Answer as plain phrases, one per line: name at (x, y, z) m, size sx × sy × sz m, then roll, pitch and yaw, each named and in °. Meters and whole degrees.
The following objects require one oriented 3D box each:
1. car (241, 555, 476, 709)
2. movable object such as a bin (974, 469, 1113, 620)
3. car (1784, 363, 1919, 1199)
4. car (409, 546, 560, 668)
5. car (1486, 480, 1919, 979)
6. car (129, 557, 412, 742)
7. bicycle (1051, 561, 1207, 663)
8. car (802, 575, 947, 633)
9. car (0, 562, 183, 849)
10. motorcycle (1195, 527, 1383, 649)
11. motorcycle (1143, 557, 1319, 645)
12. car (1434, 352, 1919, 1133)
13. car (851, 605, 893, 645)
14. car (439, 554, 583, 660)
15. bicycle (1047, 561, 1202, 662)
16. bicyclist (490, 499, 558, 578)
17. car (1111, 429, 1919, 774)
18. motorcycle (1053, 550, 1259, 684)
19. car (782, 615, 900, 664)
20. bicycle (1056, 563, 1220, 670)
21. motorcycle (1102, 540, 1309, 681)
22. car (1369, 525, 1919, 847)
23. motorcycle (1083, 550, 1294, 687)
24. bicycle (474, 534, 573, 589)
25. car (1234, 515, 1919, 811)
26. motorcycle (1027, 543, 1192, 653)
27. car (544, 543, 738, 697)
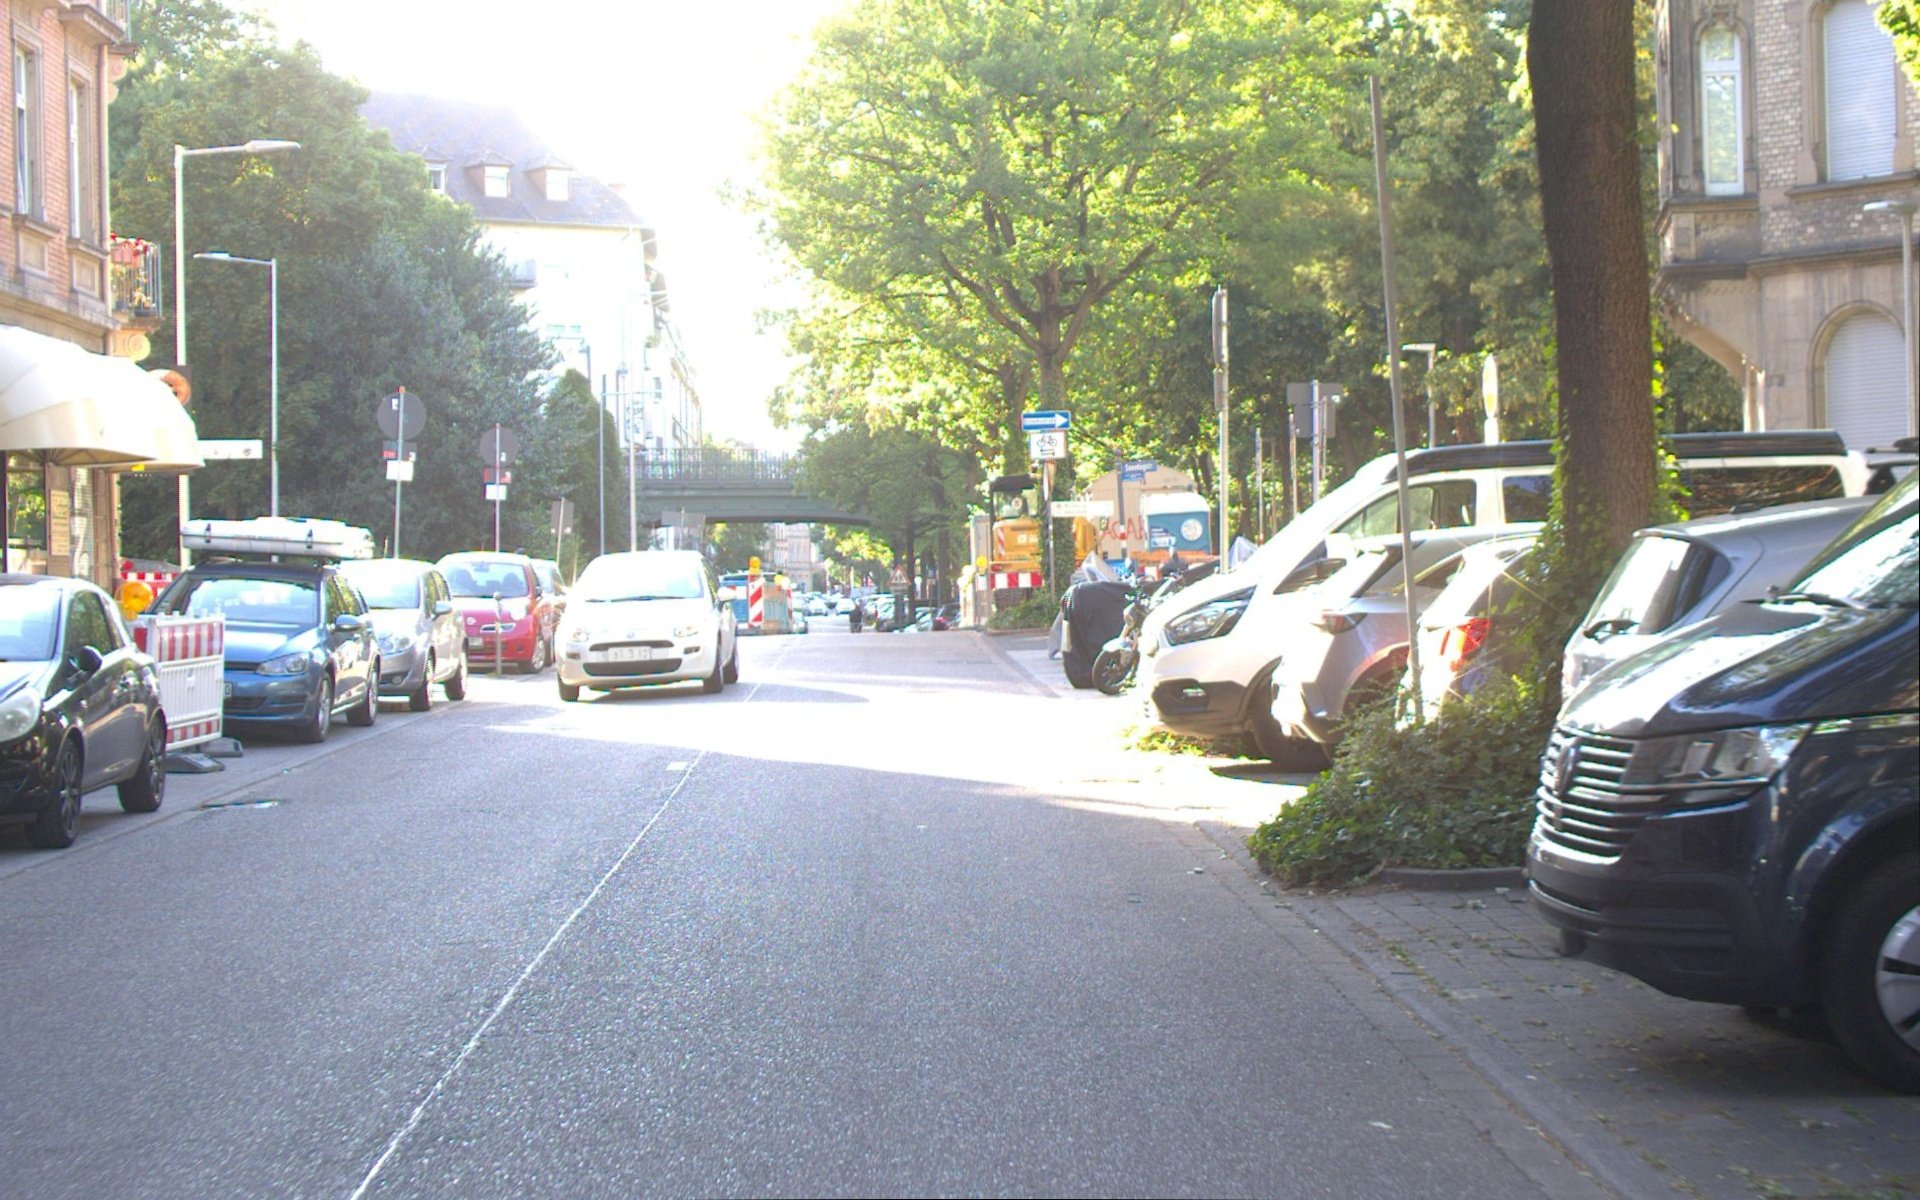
car at (-6.056, 0.278, 35.016) m, size 1.725 × 1.432 × 3.996 m, roll 1°, pitch 1°, yaw -1°
movable object such as a bin at (1.556, -1.002, 63.092) m, size 1.994 × 2.690 × 3.109 m, roll -1°, pitch 0°, yaw 12°
car at (4.211, 0.384, 7.506) m, size 4.267 × 1.878 × 1.940 m, roll -1°, pitch 1°, yaw -4°
car at (-6.231, 0.060, 45.346) m, size 1.669 × 1.525 × 4.001 m, roll -1°, pitch 1°, yaw -4°
car at (4.125, 0.397, 12.768) m, size 3.986 × 1.686 × 1.800 m, roll -1°, pitch 1°, yaw -3°
car at (-5.883, 0.371, 29.801) m, size 1.764 × 1.432 × 4.301 m, roll -1°, pitch 1°, yaw -3°
bicycle at (2.115, 0.149, 43.042) m, size 1.924 × 1.242 × 0.303 m, roll -1°, pitch 1°, yaw -7°
car at (-2.666, 0.130, 106.291) m, size 4.387 × 1.696 × 1.917 m, roll 1°, pitch -2°, yaw -4°
car at (-5.675, 0.534, 19.629) m, size 1.703 × 1.449 × 4.021 m, roll -1°, pitch 1°, yaw -3°
motorcycle at (4.233, -0.155, 44.264) m, size 2.282 × 1.526 × 0.756 m, roll -1°, pitch 0°, yaw -7°
motorcycle at (3.715, 0.016, 47.071) m, size 2.284 × 1.176 × 0.970 m, roll -1°, pitch 0°, yaw 12°
car at (3.884, 0.309, 10.032) m, size 4.614 × 2.007 × 2.000 m, roll -1°, pitch 1°, yaw -3°
car at (-3.886, 1.089, 151.156) m, size 1.775 × 1.604 × 4.402 m, roll -1°, pitch 1°, yaw -2°
car at (-6.457, 0.072, 49.796) m, size 1.669 × 1.453 × 4.000 m, roll -1°, pitch 1°, yaw -2°
bicycle at (2.078, 0.144, 43.366) m, size 1.924 × 1.242 × 0.303 m, roll -1°, pitch 1°, yaw -7°
bicyclist at (-7.711, -1.083, 60.818) m, size 0.803 × 1.378 × 0.985 m, roll 0°, pitch 1°, yaw -37°
car at (3.568, -0.011, 22.777) m, size 4.973 × 2.089 × 2.106 m, roll -1°, pitch 1°, yaw -1°
motorcycle at (2.048, 0.168, 36.210) m, size 2.023 × 1.280 × 0.904 m, roll -3°, pitch 1°, yaw -3°
car at (-4.516, 1.512, 130.274) m, size 4.387 × 1.779 × 1.917 m, roll 1°, pitch -2°, yaw -4°
bicycle at (2.125, 0.190, 41.028) m, size 1.924 × 1.242 × 0.303 m, roll -1°, pitch 1°, yaw -7°
motorcycle at (2.508, 0.101, 35.239) m, size 2.023 × 1.357 × 0.694 m, roll -2°, pitch 1°, yaw -1°
car at (4.147, 0.385, 17.562) m, size 3.840 × 1.510 × 1.848 m, roll -1°, pitch 1°, yaw -1°
motorcycle at (2.270, 0.174, 34.306) m, size 2.014 × 1.322 × 0.621 m, roll -1°, pitch 1°, yaw -5°
bicycle at (-7.725, -0.686, 60.826) m, size 0.803 × 0.965 × 2.108 m, roll 0°, pitch 1°, yaw -37°
car at (3.621, 0.336, 20.131) m, size 3.840 × 1.590 × 1.741 m, roll -1°, pitch 1°, yaw -1°
motorcycle at (1.950, -0.029, 44.860) m, size 1.935 × 1.408 × 0.939 m, roll 0°, pitch 1°, yaw 27°
car at (-3.312, 0.164, 36.333) m, size 1.749 × 1.504 × 4.000 m, roll -1°, pitch 1°, yaw -1°
